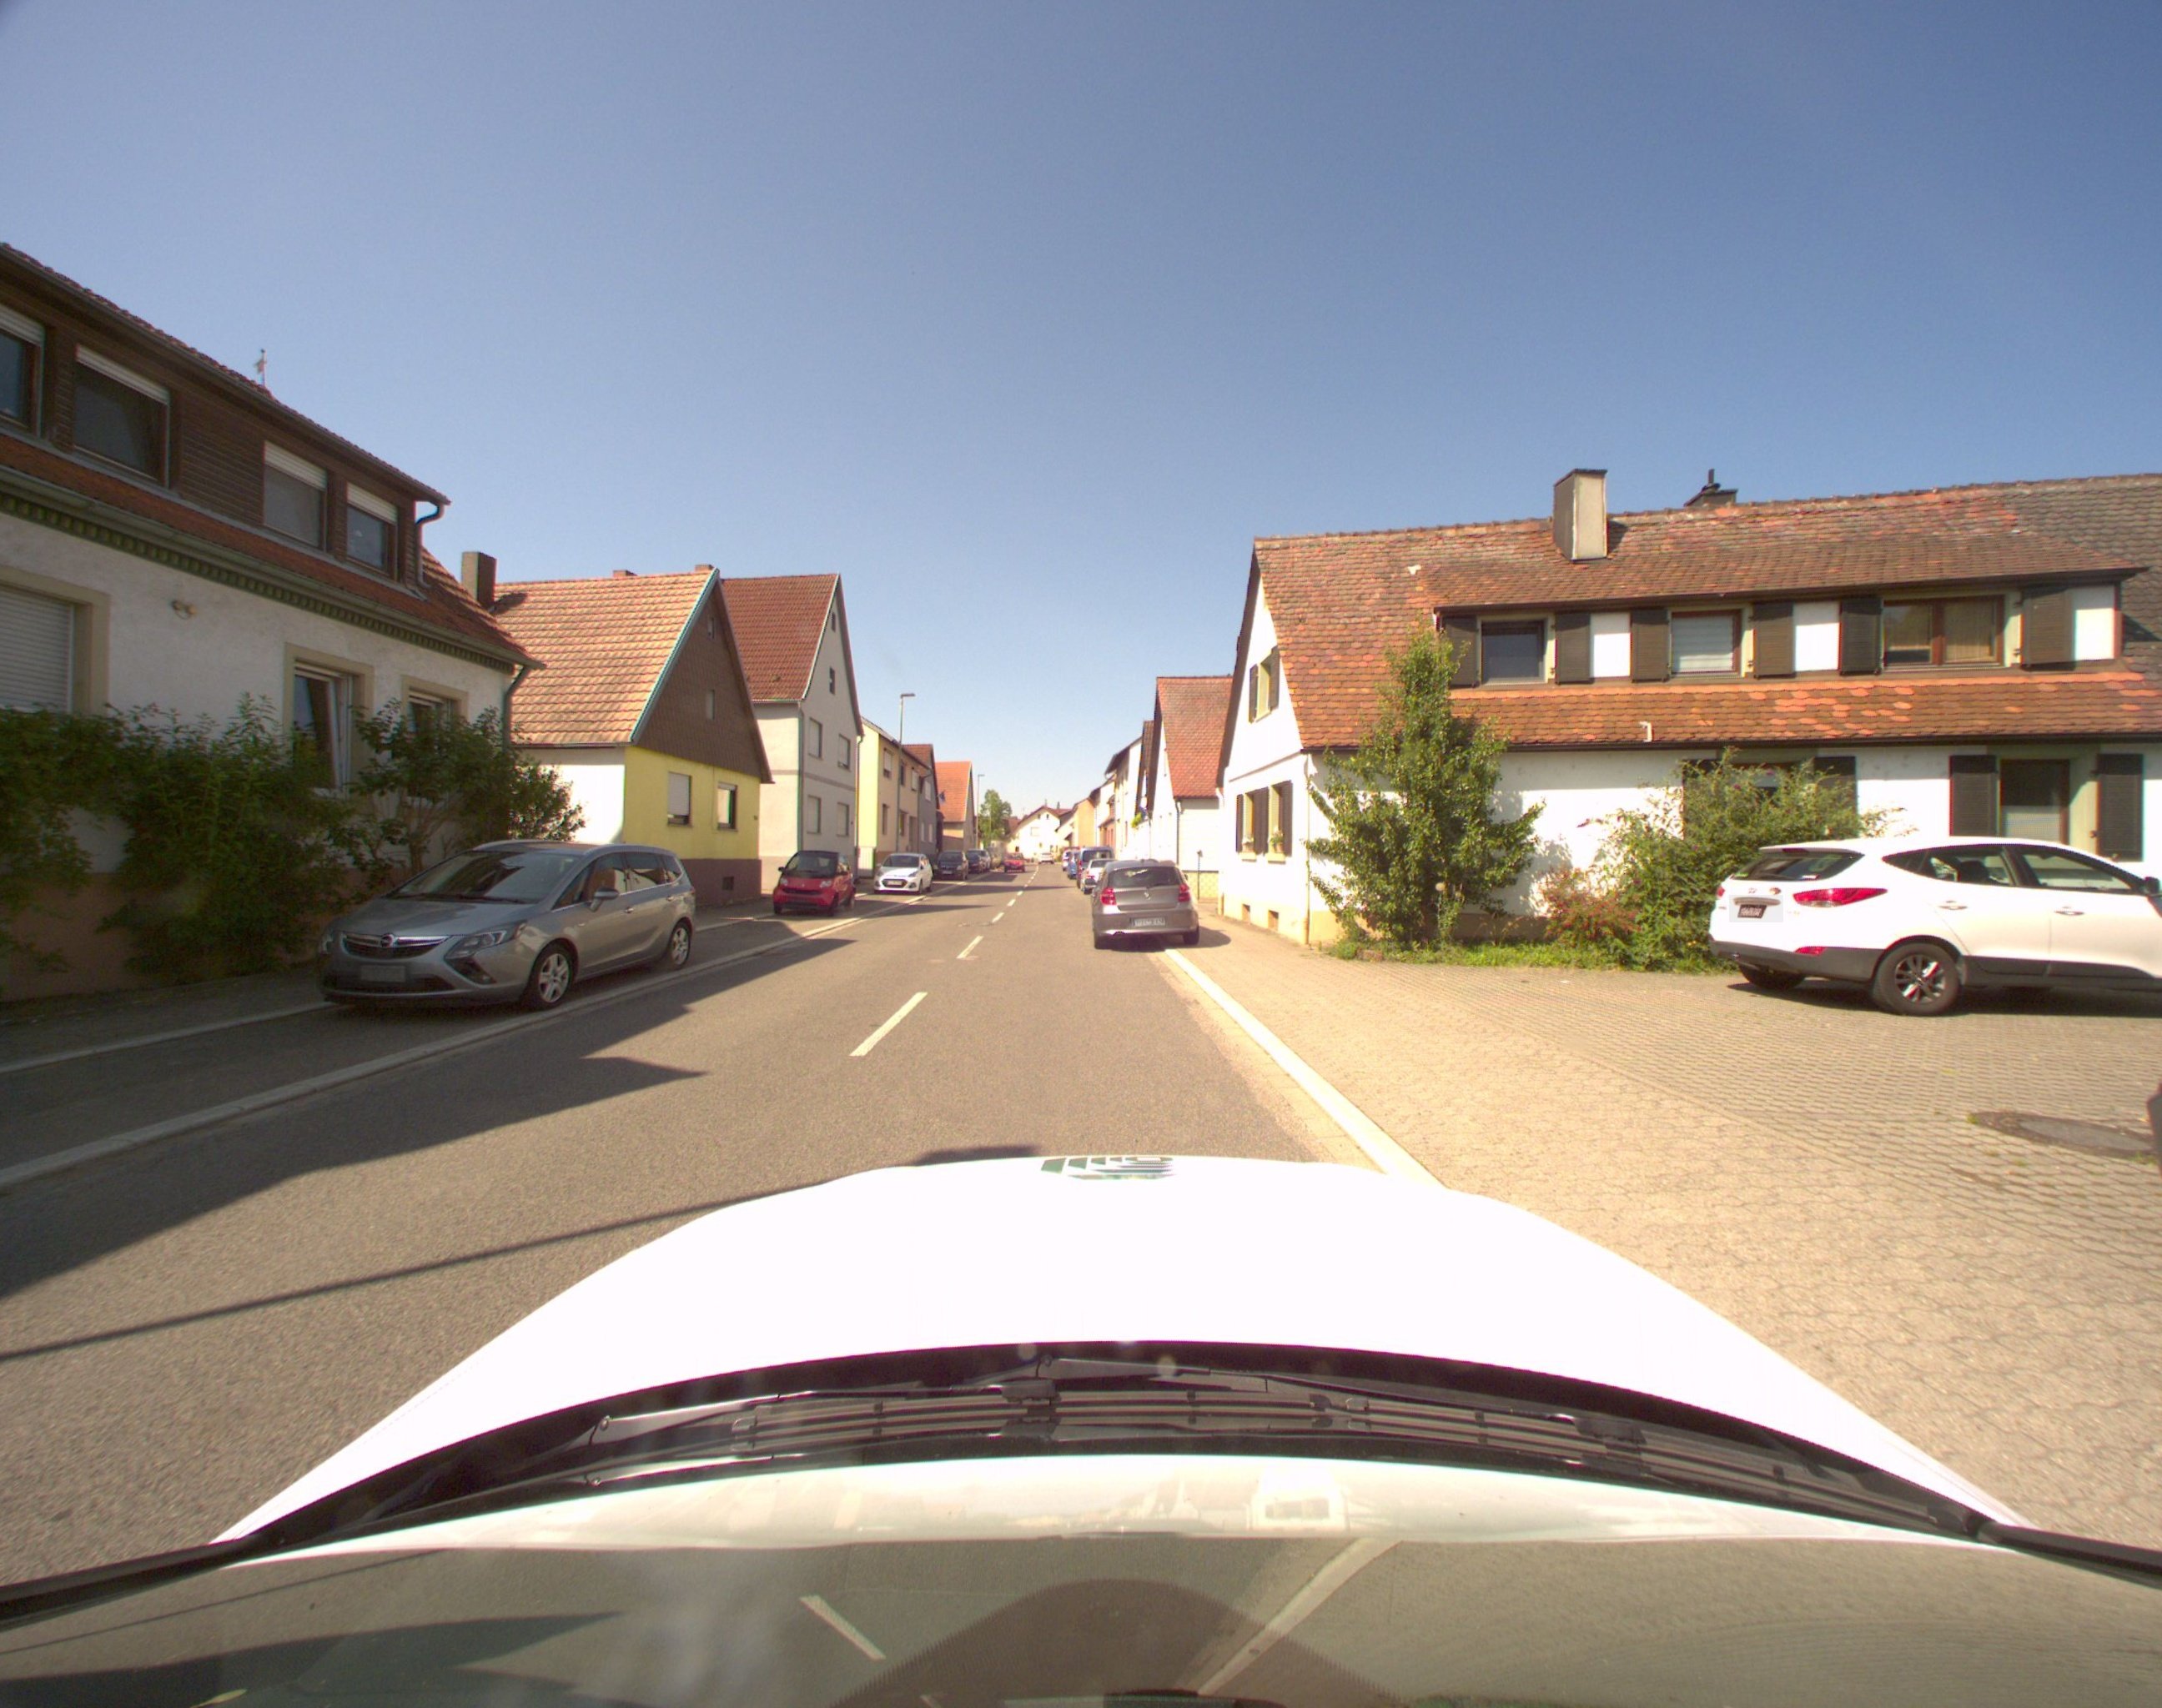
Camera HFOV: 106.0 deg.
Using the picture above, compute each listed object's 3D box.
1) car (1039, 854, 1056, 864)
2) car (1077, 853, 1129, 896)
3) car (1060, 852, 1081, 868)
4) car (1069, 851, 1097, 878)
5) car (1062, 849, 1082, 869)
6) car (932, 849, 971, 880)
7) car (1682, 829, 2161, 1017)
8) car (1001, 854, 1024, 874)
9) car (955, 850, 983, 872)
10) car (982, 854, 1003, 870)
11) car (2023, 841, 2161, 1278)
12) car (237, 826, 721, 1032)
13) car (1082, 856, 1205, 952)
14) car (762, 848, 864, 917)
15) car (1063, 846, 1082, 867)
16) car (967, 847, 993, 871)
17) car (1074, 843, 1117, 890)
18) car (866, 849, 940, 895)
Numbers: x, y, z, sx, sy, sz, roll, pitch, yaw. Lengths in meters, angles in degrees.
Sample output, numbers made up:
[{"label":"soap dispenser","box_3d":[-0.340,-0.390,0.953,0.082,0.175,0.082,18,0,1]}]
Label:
[{"label":"car","box_3d":[-4.119,0.621,100.604,1.988,1.288,3.997,0,-1,-2]},{"label":"car","box_3d":[0.779,0.744,31.024,1.700,1.496,3.449,2,0,-3]},{"label":"car","box_3d":[-0.921,0.525,72.342,1.762,1.433,3.448,0,-1,-1]},{"label":"car","box_3d":[0.081,0.595,47.106,1.417,1.515,3.301,2,0,-3]},{"label":"car","box_3d":[-0.721,0.417,64.569,1.417,1.515,3.301,2,0,-3]},{"label":"car","box_3d":[-6.937,0.554,43.987,1.615,1.577,3.957,2,0,-3]},{"label":"car","box_3d":[8.830,0.621,8.208,4.156,1.657,1.814,0,-1,4]},{"label":"car","box_3d":[-5.285,0.752,63.484,1.597,1.489,3.622,2,0,-3]},{"label":"car","box_3d":[-7.686,0.489,55.889,1.500,1.453,3.506,0,-1,-2]},{"label":"car","box_3d":[-7.559,0.672,69.818,1.523,1.356,3.622,2,0,-3]},{"label":"car","box_3d":[4.347,0.670,0.982,1.684,1.420,4.145,1,-1,1]},{"label":"car","box_3d":[-5.972,0.631,9.030,1.867,1.637,4.662,2,0,-1]},{"label":"car","box_3d":[0.966,0.774,14.470,1.700,1.433,3.886,-2,0,-3]},{"label":"car","box_3d":[-6.611,0.668,20.388,1.548,1.544,2.986,2,0,-1]},{"label":"car","box_3d":[-0.844,0.234,77.706,1.762,2.004,3.448,0,-1,-1]},{"label":"car","box_3d":[-7.441,0.366,60.349,1.523,1.713,3.622,2,0,-3]},{"label":"car","box_3d":[0.597,0.521,35.953,1.645,1.910,3.622,2,0,-3]},{"label":"car","box_3d":[-6.598,0.646,30.633,1.801,1.548,4.402,2,0,-1]}]
